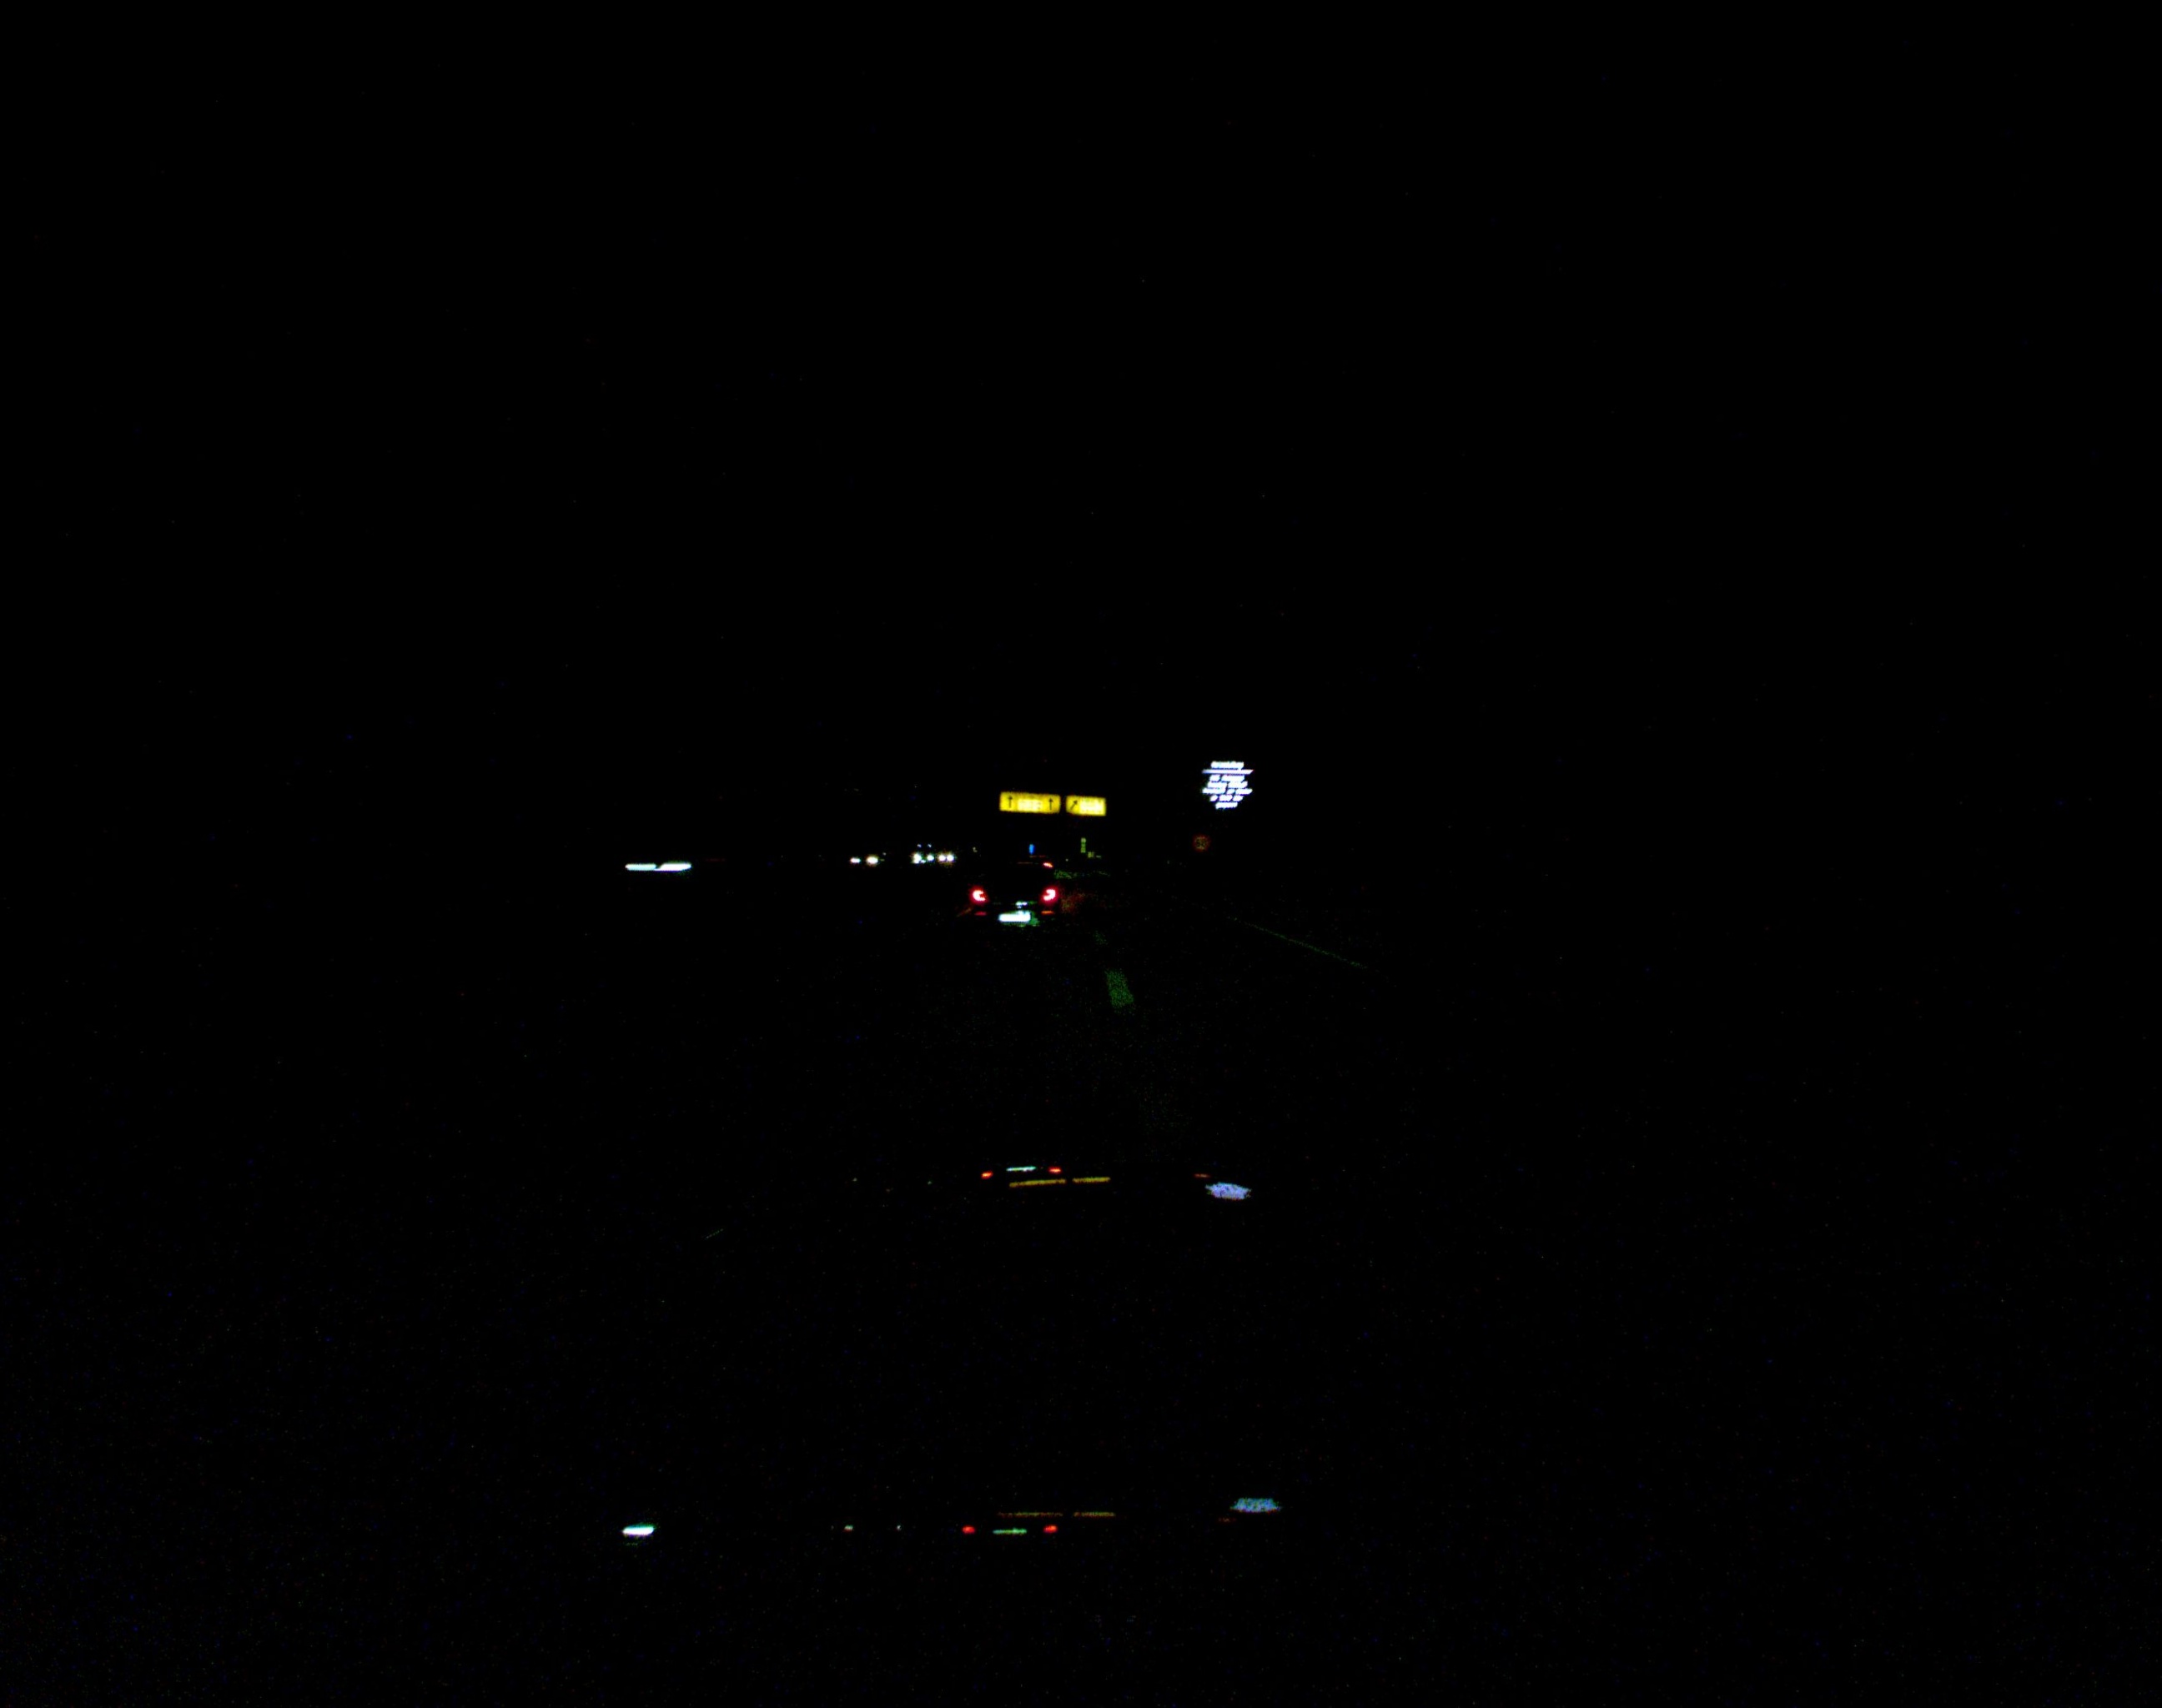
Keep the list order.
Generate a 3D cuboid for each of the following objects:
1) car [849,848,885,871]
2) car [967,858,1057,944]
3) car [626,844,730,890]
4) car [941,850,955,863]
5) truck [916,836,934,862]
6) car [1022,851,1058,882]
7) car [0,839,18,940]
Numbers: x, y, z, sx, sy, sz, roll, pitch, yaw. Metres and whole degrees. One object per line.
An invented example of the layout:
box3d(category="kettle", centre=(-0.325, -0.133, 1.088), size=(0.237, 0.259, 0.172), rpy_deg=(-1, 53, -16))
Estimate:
box3d(category="car", centre=(-19.677, 0.462, 75.197), size=(2.358, 2.013, 5.023), rpy_deg=(1, 0, -5))
box3d(category="car", centre=(-1.291, 0.843, 16.519), size=(1.584, 1.508, 3.997), rpy_deg=(-1, 0, -2))
box3d(category="car", centre=(-16.917, 0.519, 34.499), size=(1.962, 1.763, 5.029), rpy_deg=(1, 0, -2))
box3d(category="car", centre=(-23.867, 0.463, 146.313), size=(1.991, 2.266, 3.992), rpy_deg=(4, -1, -6))
box3d(category="truck", centre=(-27.063, -0.905, 141.447), size=(2.626, 4.233, 8.563), rpy_deg=(4, -1, -11))
box3d(category="car", centre=(-2.406, 0.715, 48.758), size=(1.901, 1.698, 3.998), rpy_deg=(3, 0, -1))
box3d(category="car", centre=(-17.046, 0.521, 10.313), size=(1.723, 1.517, 4.155), rpy_deg=(1, 0, -2))
